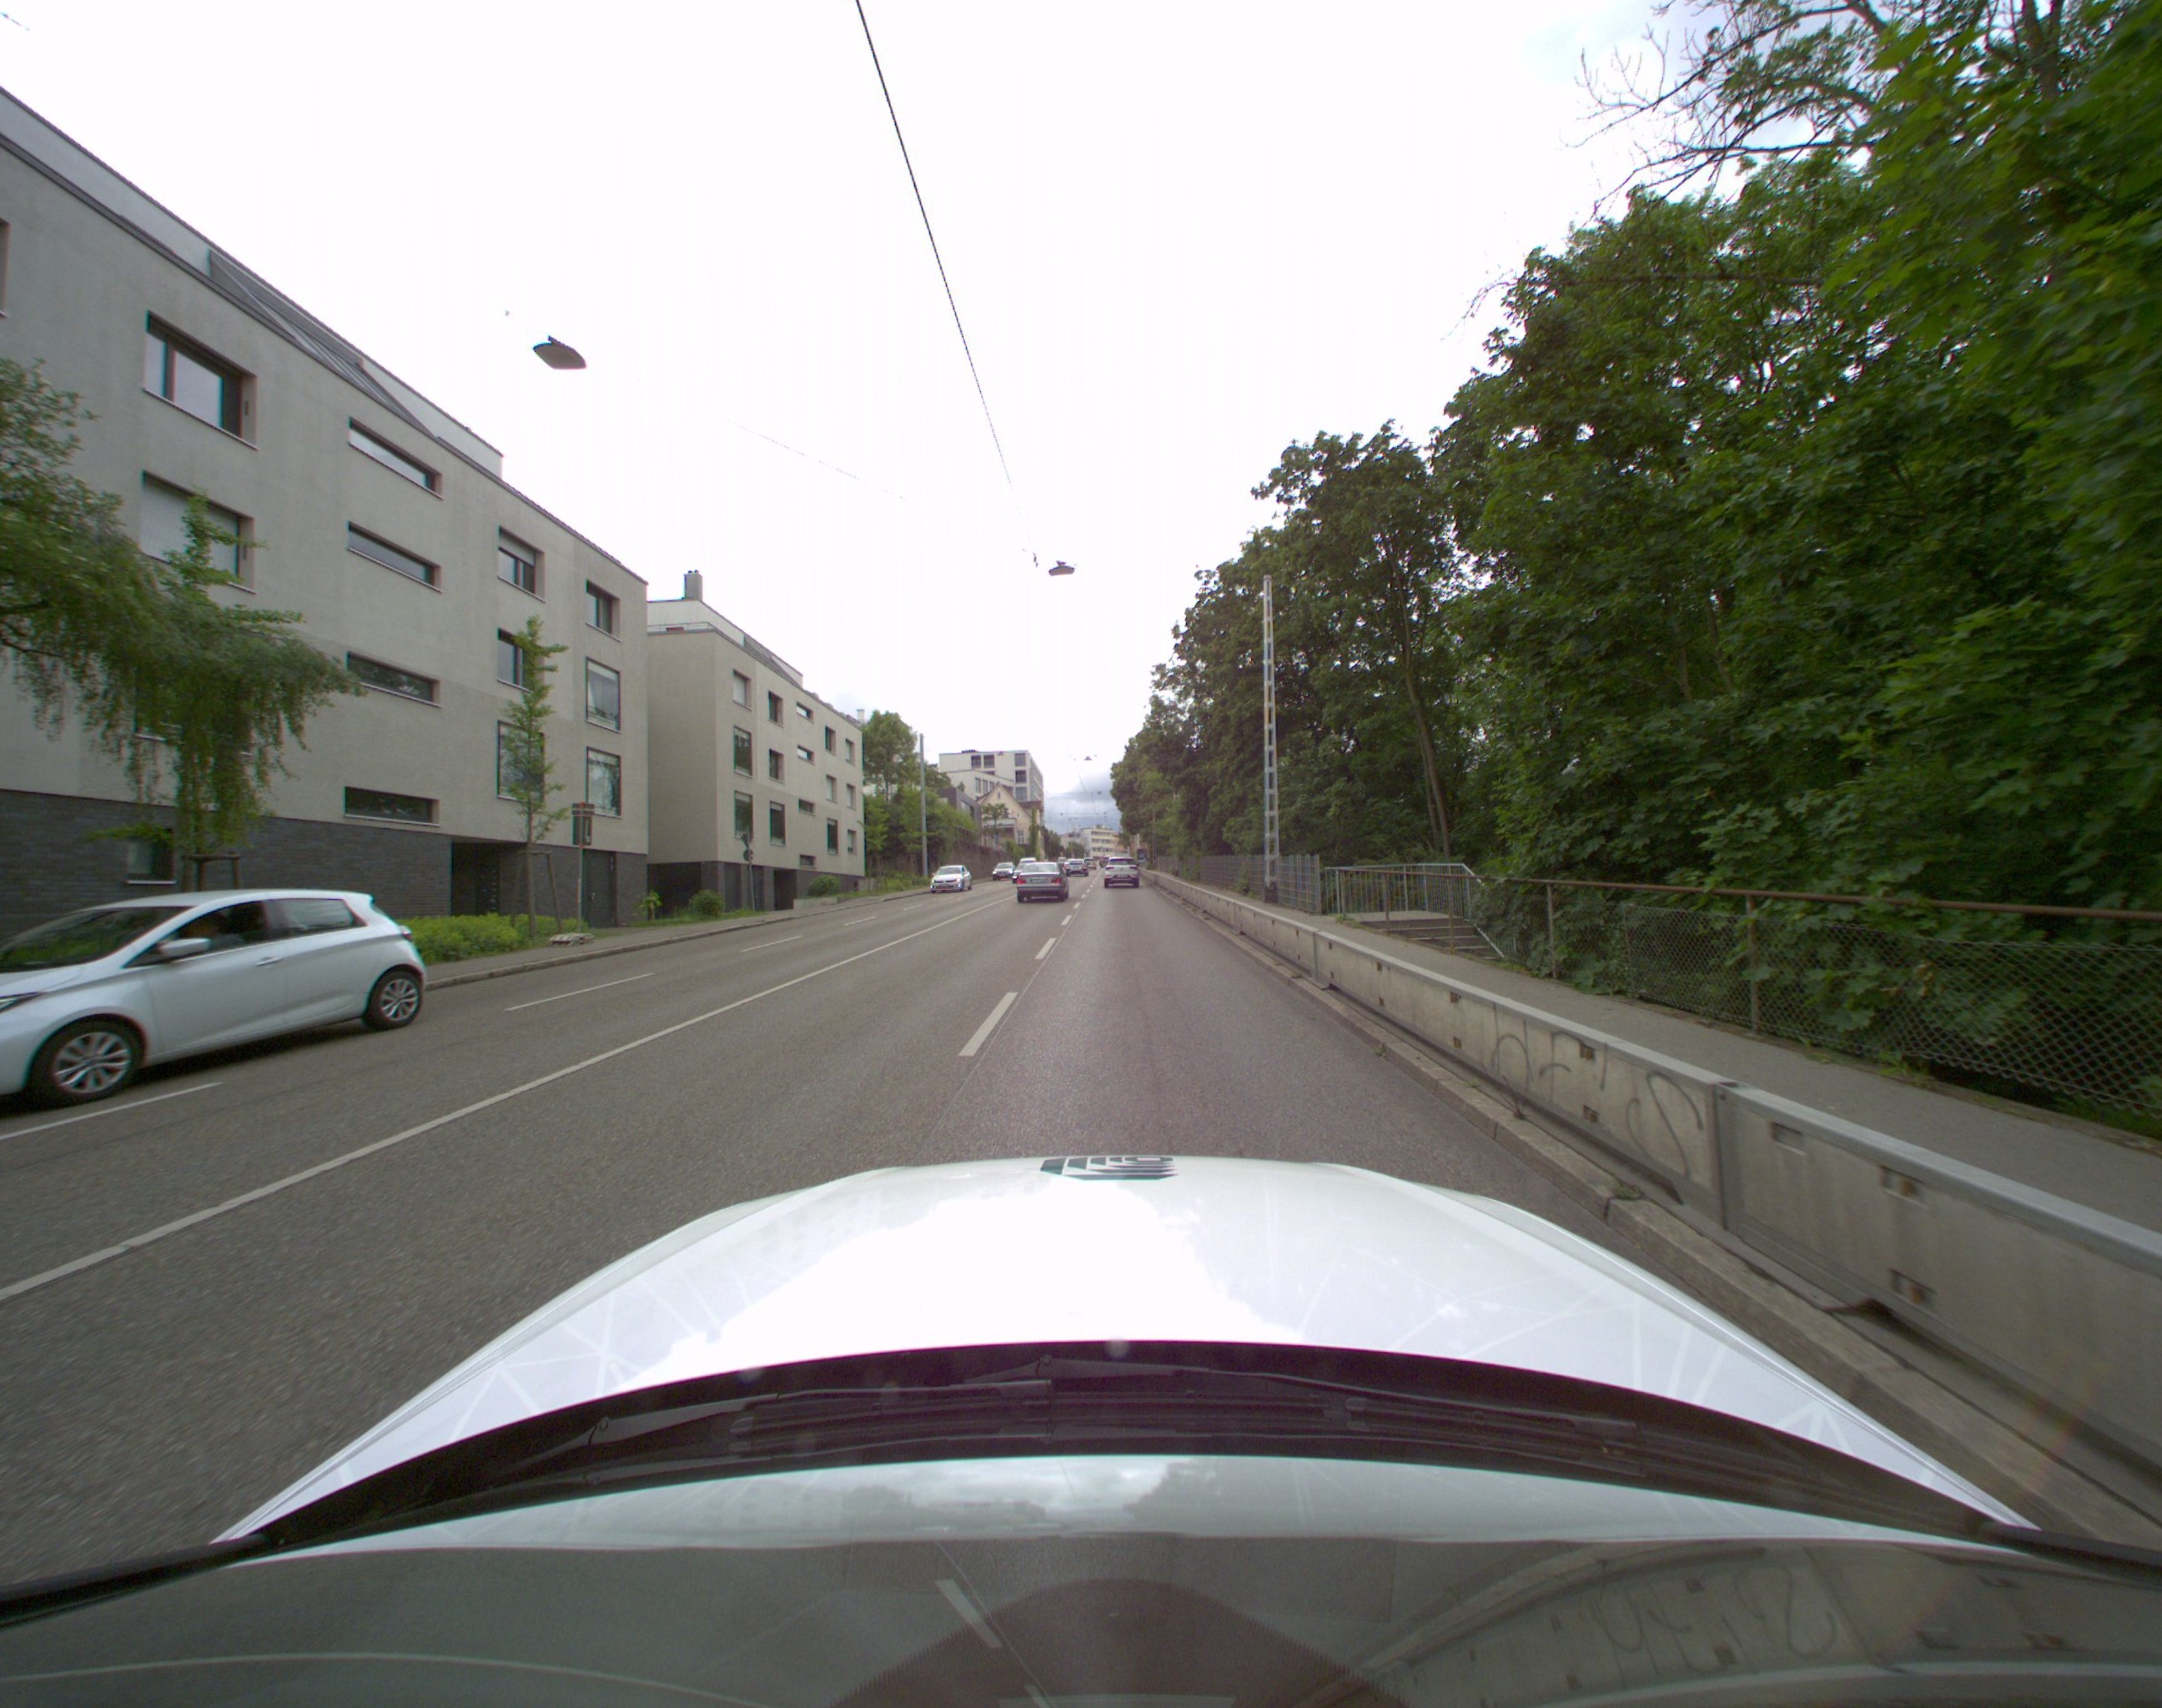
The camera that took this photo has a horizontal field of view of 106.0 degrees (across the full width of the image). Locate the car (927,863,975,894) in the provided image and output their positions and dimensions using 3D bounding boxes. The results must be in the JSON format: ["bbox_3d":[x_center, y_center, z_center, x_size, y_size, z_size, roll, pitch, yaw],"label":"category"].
[{"bbox_3d":[-7.089,1.314,44.913,1.766,1.464,4.193,-3,0,2],"label":"car"}]

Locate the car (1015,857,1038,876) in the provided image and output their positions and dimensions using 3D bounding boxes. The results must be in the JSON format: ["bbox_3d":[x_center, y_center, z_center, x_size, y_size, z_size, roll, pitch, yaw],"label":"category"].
[{"bbox_3d":[-5.644,1.243,84.881,1.726,1.788,4.869,-3,0,2],"label":"car"}]

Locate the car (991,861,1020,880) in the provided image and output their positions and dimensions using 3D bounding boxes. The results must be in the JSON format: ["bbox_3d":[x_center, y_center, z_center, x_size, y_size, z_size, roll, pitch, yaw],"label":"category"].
[{"bbox_3d":[-6.269,1.344,68.029,1.726,1.464,4.426,-3,0,2],"label":"car"}]

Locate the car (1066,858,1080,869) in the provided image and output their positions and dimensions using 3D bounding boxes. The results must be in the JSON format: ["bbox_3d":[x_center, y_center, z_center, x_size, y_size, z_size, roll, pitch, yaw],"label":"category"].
[{"bbox_3d":[-1.122,1.343,117.193,1.808,1.386,4.465,-4,0,2],"label":"car"}]

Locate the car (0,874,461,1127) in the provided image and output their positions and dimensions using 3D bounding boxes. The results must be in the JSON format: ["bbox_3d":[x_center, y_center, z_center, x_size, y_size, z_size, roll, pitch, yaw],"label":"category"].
[{"bbox_3d":[-8.117,1.098,7.306,1.737,1.613,4.060,-4,0,3],"label":"car"}]

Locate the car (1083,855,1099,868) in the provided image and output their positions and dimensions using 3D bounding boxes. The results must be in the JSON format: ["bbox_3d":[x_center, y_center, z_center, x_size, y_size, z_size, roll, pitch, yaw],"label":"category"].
[{"bbox_3d":[1.238,0.841,97.061,1.700,1.464,4.002,-2,0,2],"label":"car"}]

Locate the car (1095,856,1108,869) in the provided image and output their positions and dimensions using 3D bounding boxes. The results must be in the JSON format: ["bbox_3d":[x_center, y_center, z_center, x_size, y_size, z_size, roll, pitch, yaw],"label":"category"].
[{"bbox_3d":[2.868,1.204,113.811,1.650,1.765,3.289,-1,0,2],"label":"car"}]

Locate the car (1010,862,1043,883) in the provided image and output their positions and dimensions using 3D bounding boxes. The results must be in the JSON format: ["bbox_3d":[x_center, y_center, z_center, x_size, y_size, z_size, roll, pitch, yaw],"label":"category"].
[{"bbox_3d":[-3.688,1.223,55.816,1.746,1.269,4.193,-3,0,2],"label":"car"}]

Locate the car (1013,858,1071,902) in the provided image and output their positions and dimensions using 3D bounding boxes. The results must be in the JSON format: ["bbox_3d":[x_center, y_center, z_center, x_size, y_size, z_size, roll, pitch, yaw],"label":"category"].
[{"bbox_3d":[-1.334,0.873,29.305,1.700,1.464,4.002,-1,0,2],"label":"car"}]

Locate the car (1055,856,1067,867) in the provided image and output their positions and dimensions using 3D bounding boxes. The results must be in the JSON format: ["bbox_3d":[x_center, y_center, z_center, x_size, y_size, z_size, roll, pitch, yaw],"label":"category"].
[{"bbox_3d":[-3.468,1.327,142.583,1.809,1.784,4.497,-1,0,2],"label":"car"}]

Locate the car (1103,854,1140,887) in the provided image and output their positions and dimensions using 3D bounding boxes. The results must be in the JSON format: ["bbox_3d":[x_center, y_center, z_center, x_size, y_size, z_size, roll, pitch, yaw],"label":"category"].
[{"bbox_3d":[2.018,0.828,41.865,1.773,1.579,4.000,-1,0,1],"label":"car"}]

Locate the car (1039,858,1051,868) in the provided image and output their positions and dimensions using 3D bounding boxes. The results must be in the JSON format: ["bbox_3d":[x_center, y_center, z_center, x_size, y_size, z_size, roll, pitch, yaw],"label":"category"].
[{"bbox_3d":[-6.452,1.625,145.713,1.988,1.701,3.997,-1,0,-2],"label":"car"}]

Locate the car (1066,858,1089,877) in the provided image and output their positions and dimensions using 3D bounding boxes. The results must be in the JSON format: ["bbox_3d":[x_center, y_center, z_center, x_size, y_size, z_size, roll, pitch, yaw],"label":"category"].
[{"bbox_3d":[-0.270,1.064,67.655,1.700,1.464,4.002,-2,0,2],"label":"car"}]
